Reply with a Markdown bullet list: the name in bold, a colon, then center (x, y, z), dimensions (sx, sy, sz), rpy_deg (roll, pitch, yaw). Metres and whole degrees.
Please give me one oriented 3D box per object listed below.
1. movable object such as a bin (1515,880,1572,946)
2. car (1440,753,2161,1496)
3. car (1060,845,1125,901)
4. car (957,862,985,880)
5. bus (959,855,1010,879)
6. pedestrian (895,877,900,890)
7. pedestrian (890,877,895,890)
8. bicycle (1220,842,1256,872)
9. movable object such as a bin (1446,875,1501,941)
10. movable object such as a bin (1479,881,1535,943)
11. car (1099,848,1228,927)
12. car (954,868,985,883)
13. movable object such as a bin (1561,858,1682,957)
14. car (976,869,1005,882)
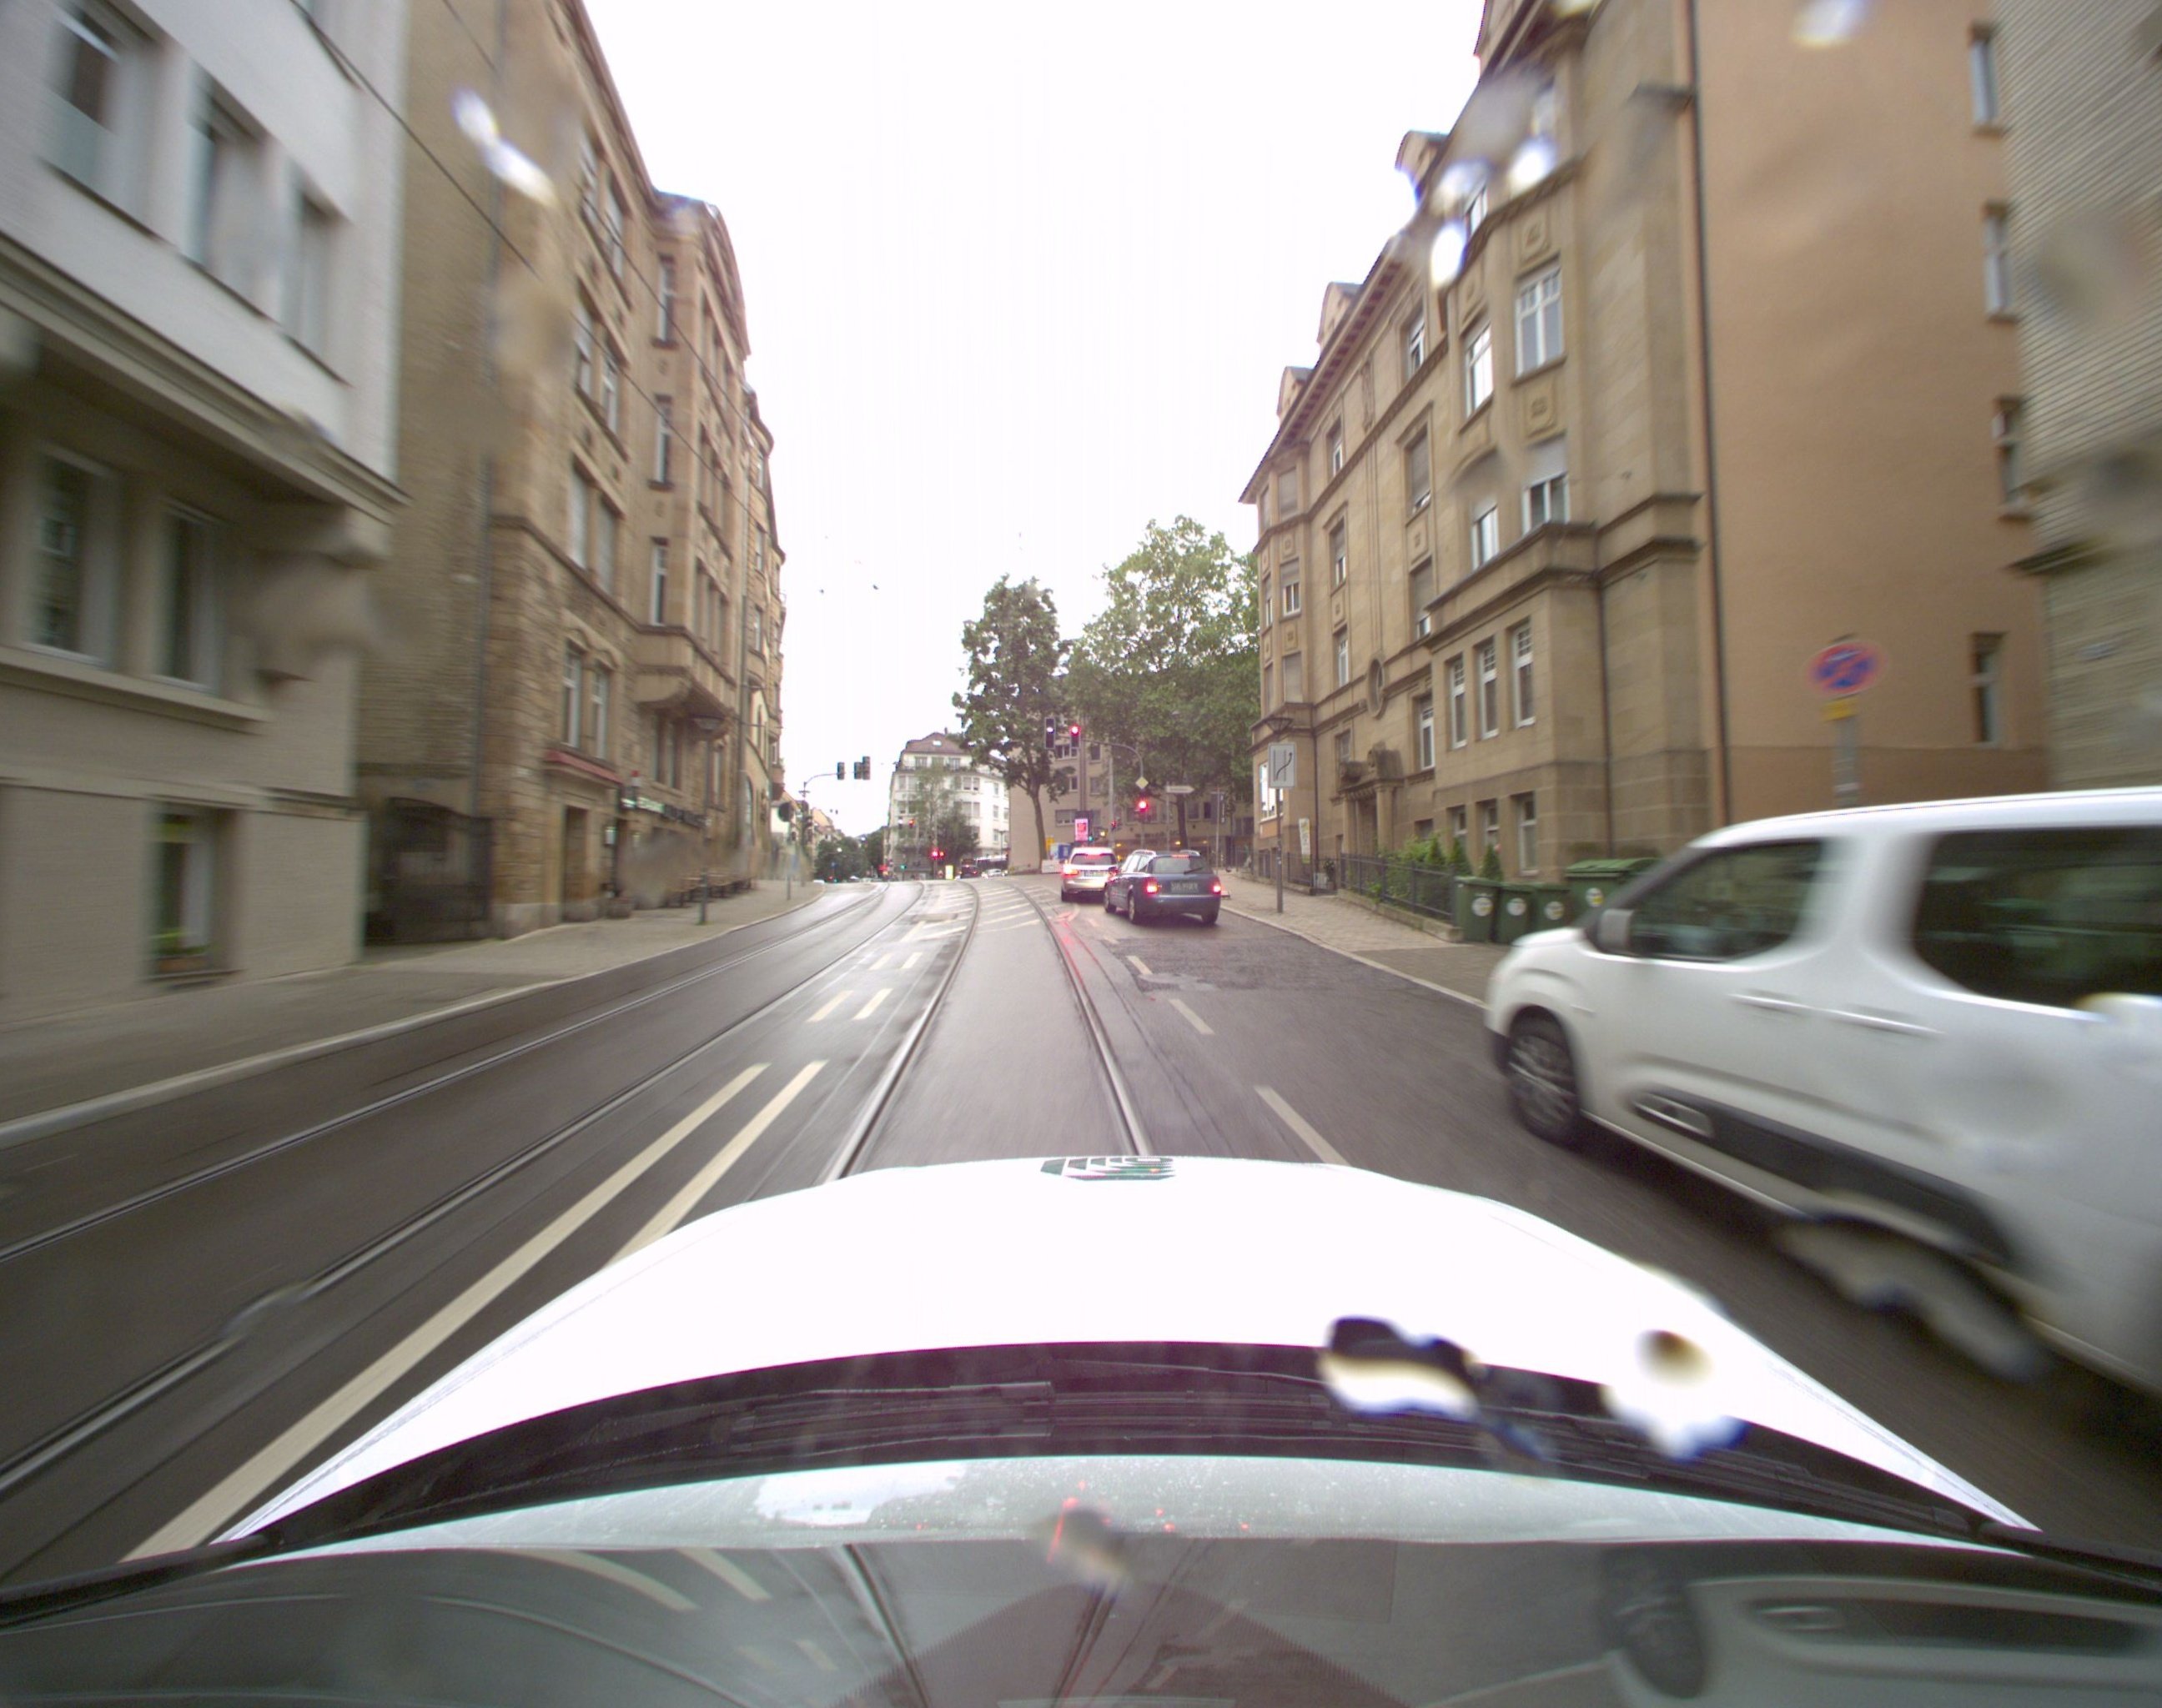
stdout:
- **movable object such as a bin**: center (7.675, 0.966, 13.541), dimensions (0.536, 1.026, 0.603), rpy_deg (4, -1, -5)
- **car**: center (3.413, 0.653, 3.214), dimensions (1.793, 1.765, 4.458), rpy_deg (2, 0, -3)
- **car**: center (0.283, 0.478, 23.118), dimensions (1.705, 1.456, 3.551), rpy_deg (0, 1, -1)
- **car**: center (-10.747, 1.607, 79.564), dimensions (1.785, 1.510, 4.006), rpy_deg (-3, 0, 5)
- **bus**: center (-12.494, 1.597, 106.489), dimensions (2.830, 2.861, 8.779), rpy_deg (-1, 1, 21)
- **pedestrian**: center (-23.312, 3.734, 103.459), dimensions (0.649, 1.661, 0.647), rpy_deg (0, 0, -14)
- **pedestrian**: center (-24.601, 3.800, 106.286), dimensions (0.649, 1.661, 0.647), rpy_deg (0, 0, -14)
- **bicycle**: center (6.442, 0.108, 33.417), dimensions (1.298, 1.173, 0.525), rpy_deg (-3, 1, -6)
- **movable object such as a bin**: center (6.458, 0.880, 13.423), dimensions (0.536, 1.026, 0.603), rpy_deg (4, -1, -5)
- **movable object such as a bin**: center (7.036, 0.949, 13.467), dimensions (0.536, 0.968, 0.603), rpy_deg (4, -1, -5)
- **car**: center (1.605, 0.613, 17.264), dimensions (1.710, 1.415, 4.023), rpy_deg (0, 1, -10)
- **car**: center (-13.075, 2.530, 95.740), dimensions (1.778, 1.614, 4.023), rpy_deg (-1, 1, 24)
- **movable object such as a bin**: center (8.572, 0.817, 12.975), dimensions (0.970, 1.432, 1.277), rpy_deg (4, -1, -5)
- **car**: center (-11.125, 2.623, 100.274), dimensions (1.778, 1.510, 4.023), rpy_deg (-1, 1, 24)
